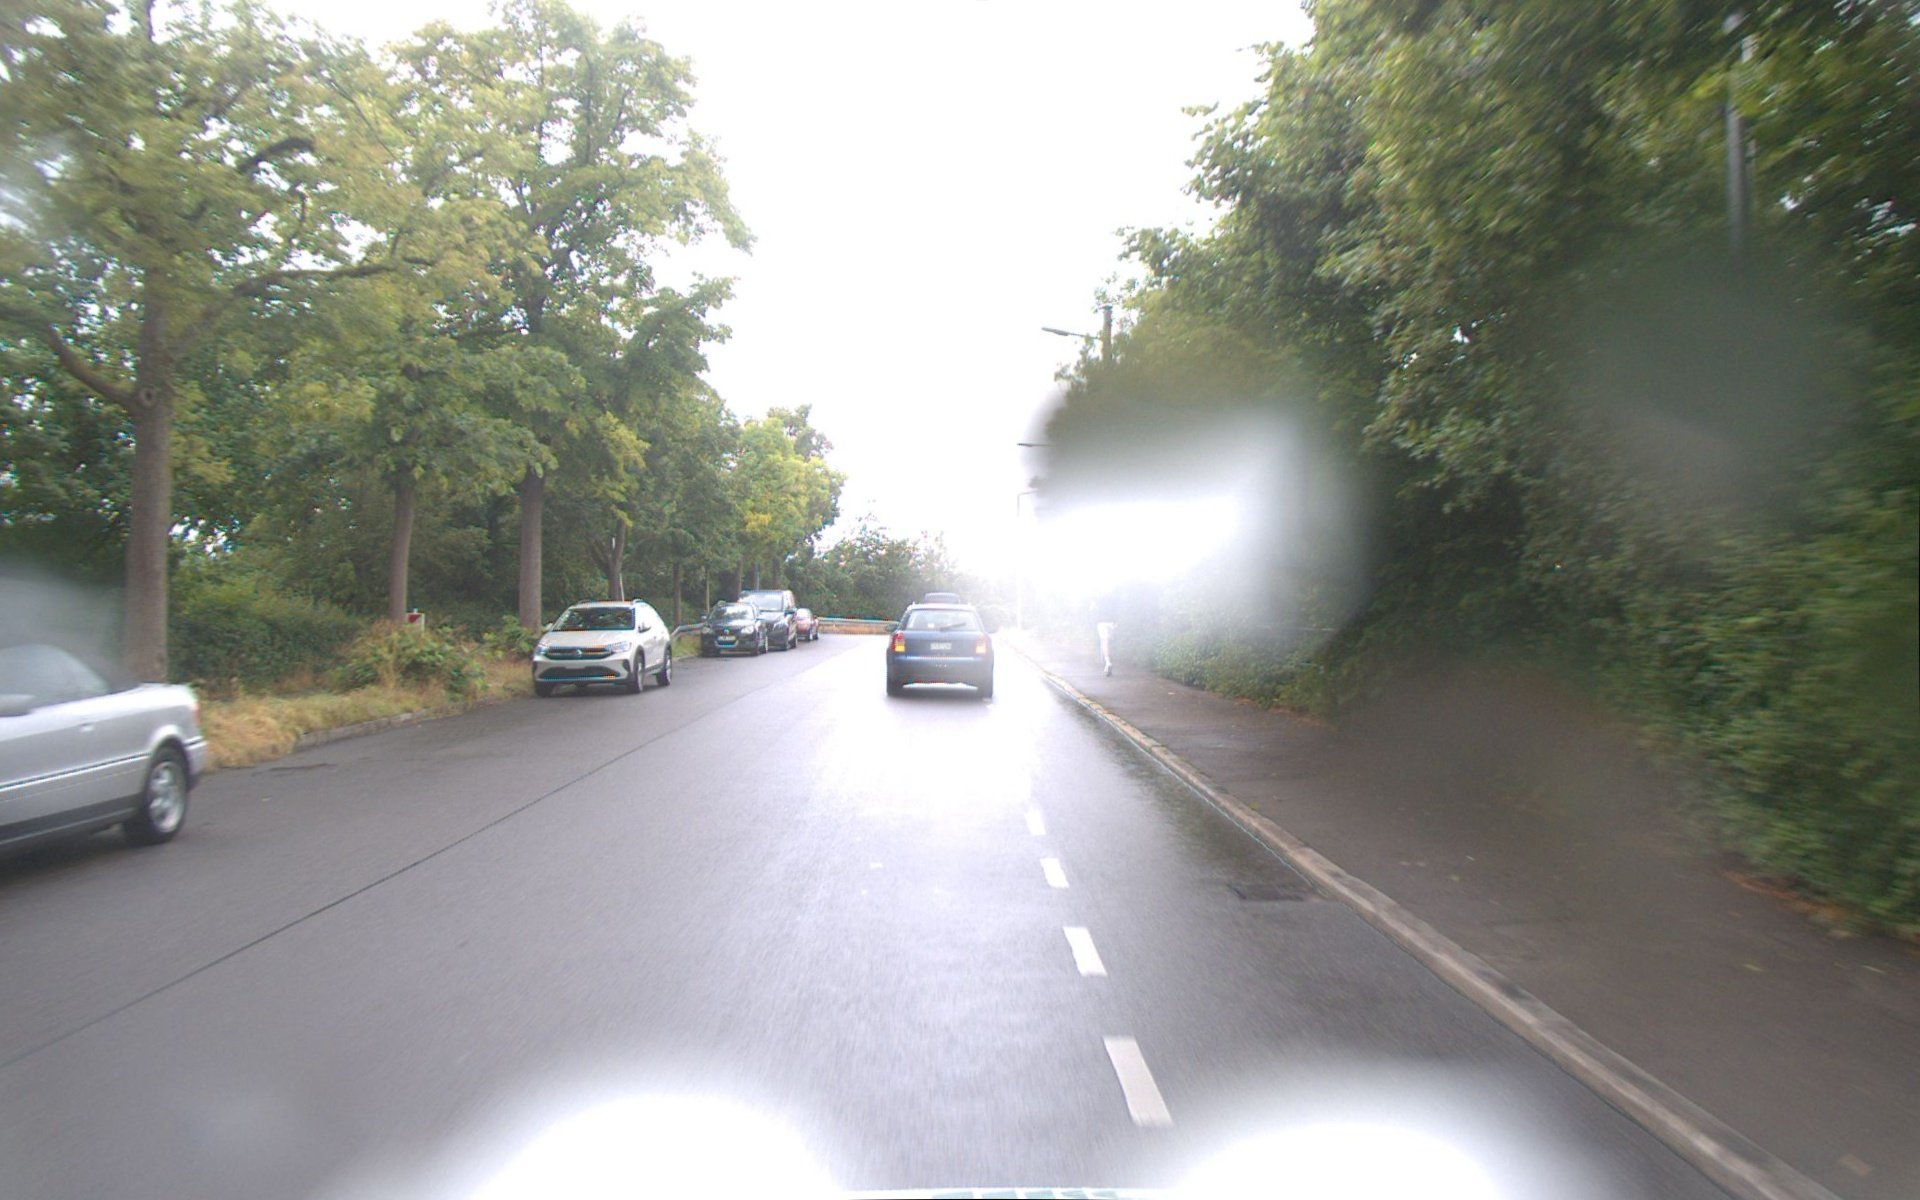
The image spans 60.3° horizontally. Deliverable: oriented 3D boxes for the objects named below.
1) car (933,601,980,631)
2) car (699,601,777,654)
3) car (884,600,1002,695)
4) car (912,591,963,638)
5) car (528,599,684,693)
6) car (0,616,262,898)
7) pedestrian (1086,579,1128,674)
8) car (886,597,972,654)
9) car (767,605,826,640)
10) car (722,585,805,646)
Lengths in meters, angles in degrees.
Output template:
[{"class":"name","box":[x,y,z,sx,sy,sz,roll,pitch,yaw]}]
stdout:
[{"class":"car","box":[-0.124,0.698,72.912,1.783,1.223,3.787,-1,-1,4]},{"class":"car","box":[-6.422,0.794,48.213,1.761,1.463,4.254,-1,-1,-2]},{"class":"car","box":[-0.353,0.766,27.222,1.713,1.432,3.996,0,-1,-4]},{"class":"car","box":[-0.807,0.541,61.010,1.784,1.645,3.785,-1,-1,0]},{"class":"car","box":[-5.977,0.750,28.370,1.654,1.463,4.256,-1,-1,1]},{"class":"car","box":[-5.725,0.814,9.338,1.719,1.427,4.418,-1,-1,-1]},{"class":"pedestrian","box":[2.951,0.524,33.263,0.702,1.867,1.021,-2,0,1]},{"class":"car","box":[-0.758,0.664,43.156,1.851,1.413,4.002,0,-1,4]},{"class":"car","box":[-6.438,0.884,65.456,1.752,1.320,4.326,-1,-1,2]},{"class":"car","box":[-6.379,0.508,54.189,2.041,1.851,5.380,-1,-1,0]}]
